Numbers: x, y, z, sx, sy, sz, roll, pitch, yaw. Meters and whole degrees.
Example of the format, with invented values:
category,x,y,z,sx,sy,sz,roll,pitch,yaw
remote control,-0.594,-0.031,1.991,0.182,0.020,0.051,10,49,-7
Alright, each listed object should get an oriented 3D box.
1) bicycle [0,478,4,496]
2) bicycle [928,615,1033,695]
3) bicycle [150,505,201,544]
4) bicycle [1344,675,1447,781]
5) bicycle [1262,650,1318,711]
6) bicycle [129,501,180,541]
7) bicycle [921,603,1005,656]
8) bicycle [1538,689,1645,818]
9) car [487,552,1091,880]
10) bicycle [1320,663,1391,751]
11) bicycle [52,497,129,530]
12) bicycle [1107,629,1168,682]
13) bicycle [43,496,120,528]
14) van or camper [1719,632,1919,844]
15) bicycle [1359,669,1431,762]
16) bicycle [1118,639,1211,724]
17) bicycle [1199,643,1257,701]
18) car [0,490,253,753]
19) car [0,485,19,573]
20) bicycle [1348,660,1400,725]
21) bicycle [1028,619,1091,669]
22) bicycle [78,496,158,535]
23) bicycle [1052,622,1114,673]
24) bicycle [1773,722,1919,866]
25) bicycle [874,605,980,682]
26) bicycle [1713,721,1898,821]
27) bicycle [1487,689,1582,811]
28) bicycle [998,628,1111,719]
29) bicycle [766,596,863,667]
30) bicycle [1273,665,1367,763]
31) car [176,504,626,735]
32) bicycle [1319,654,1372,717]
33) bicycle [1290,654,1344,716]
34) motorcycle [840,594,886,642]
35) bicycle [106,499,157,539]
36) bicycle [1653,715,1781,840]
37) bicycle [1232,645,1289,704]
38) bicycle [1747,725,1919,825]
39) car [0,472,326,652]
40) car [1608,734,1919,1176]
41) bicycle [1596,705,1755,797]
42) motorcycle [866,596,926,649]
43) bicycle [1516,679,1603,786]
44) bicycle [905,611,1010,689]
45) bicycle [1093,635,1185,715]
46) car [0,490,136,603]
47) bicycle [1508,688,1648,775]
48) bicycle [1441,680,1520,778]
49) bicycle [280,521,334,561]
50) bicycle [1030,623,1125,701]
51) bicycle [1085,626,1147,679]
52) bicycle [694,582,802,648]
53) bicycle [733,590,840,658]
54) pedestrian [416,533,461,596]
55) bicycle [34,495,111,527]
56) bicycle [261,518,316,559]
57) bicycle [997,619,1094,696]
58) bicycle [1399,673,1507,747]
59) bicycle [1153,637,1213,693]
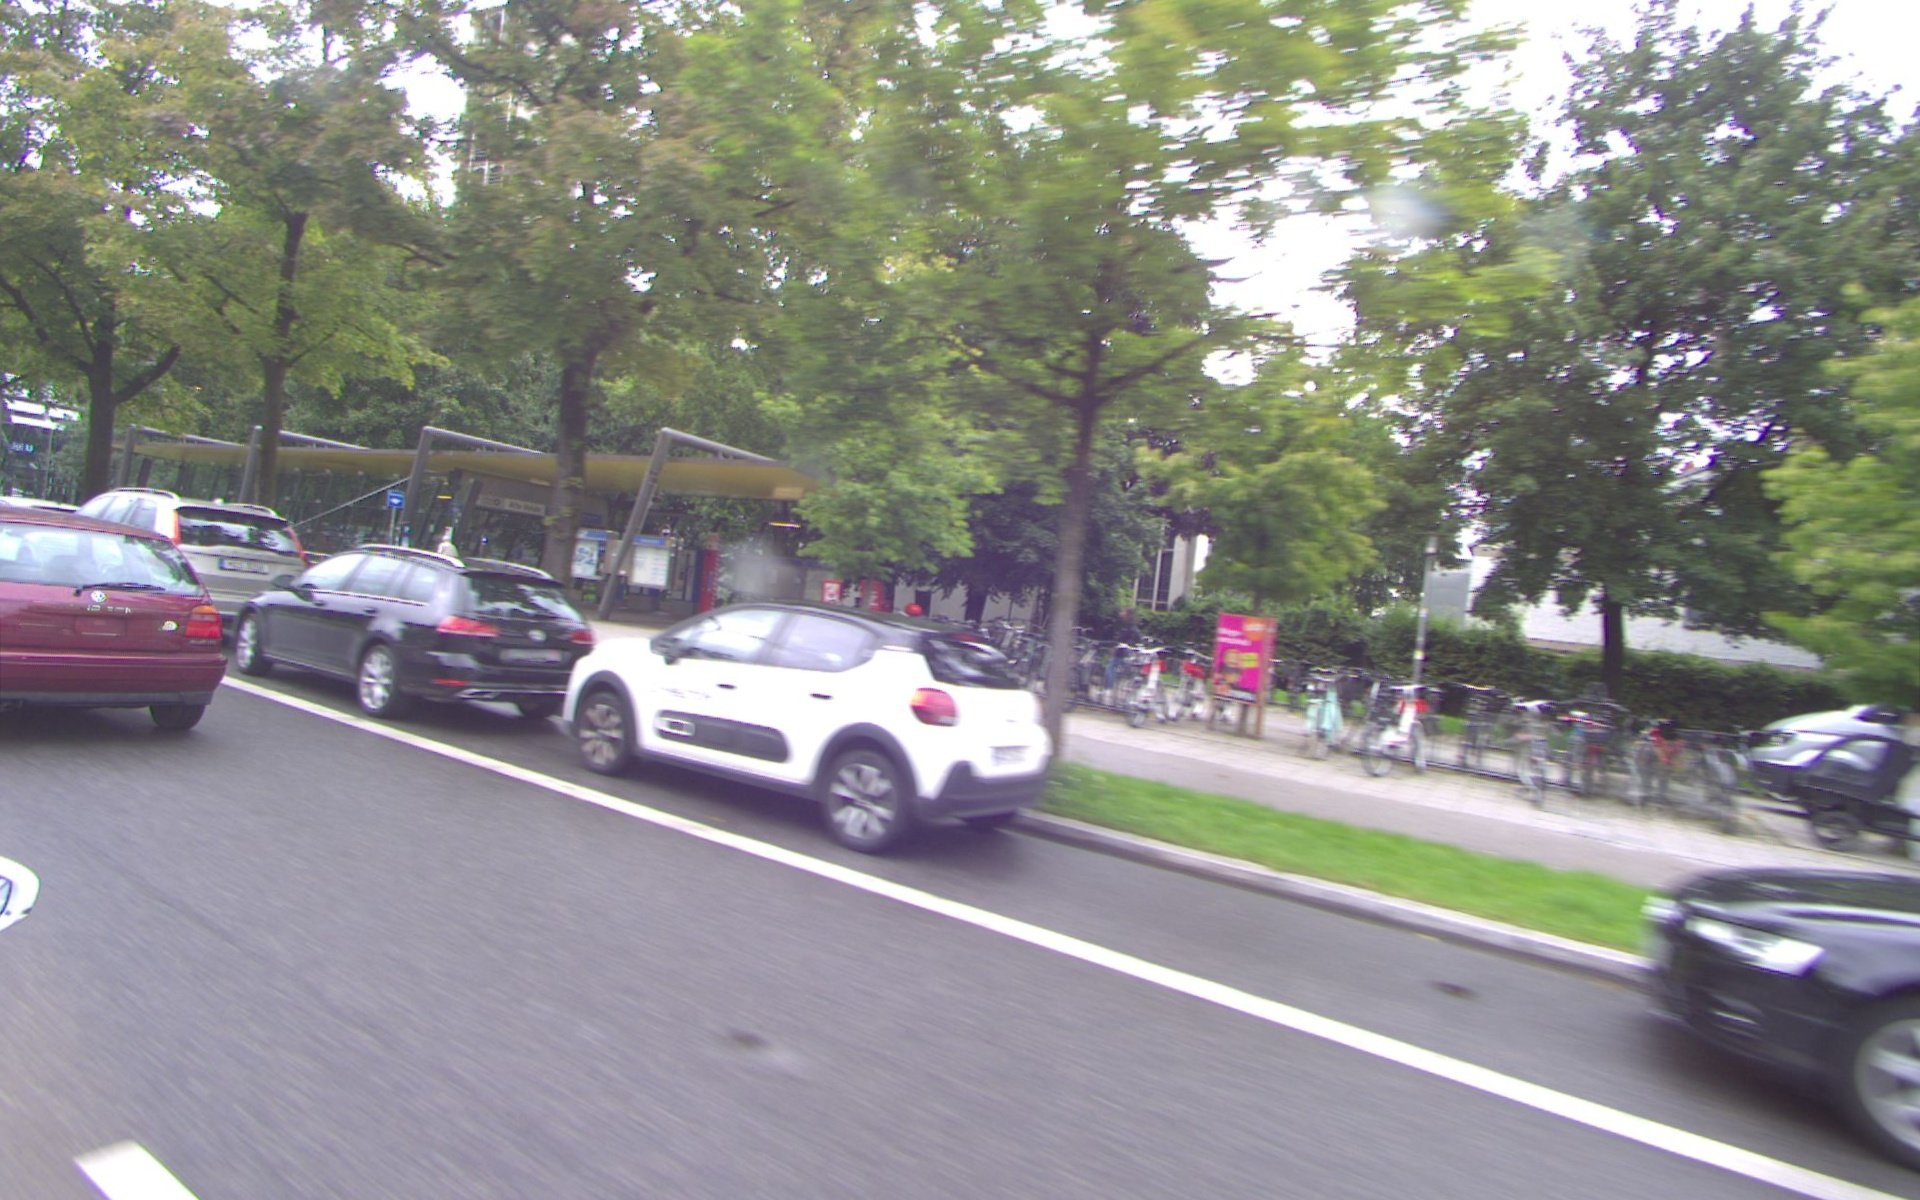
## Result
category,x,y,z,sx,sy,sz,roll,pitch,yaw
bicycle,-82.705,-9.761,85.042,0.783,1.526,2.619,7,0,10
bicycle,0.380,0.882,16.565,0.520,1.173,2.339,8,2,31
bicycle,-30.511,-2.954,39.095,2.508,1.296,0.646,7,1,32
bicycle,5.429,1.546,12.487,0.559,1.157,1.803,8,2,40
bicycle,7.232,1.731,21.970,0.520,1.173,2.339,8,2,31
bicycle,-30.839,-3.015,38.505,2.508,1.296,0.646,7,1,32
bicycle,0.065,0.794,27.806,2.308,1.173,0.527,7,3,35
bicycle,7.468,1.762,11.986,0.557,1.228,1.944,7,1,20
car,-1.410,0.676,7.639,4.308,1.566,1.715,7,0,31
bicycle,5.937,1.567,15.058,0.558,1.157,1.807,7,2,32
bicycle,-39.644,-3.929,45.907,0.636,1.102,2.545,7,0,31
bicycle,4.271,1.307,24.072,0.520,1.173,2.339,8,2,31
bicycle,-40.534,-4.038,46.459,0.636,1.102,2.545,7,0,31
van or camper,12.997,1.921,11.739,2.133,2.325,6.128,7,0,-40
bicycle,6.233,1.606,14.361,0.558,1.157,1.807,7,2,32
bicycle,3.255,1.231,15.817,0.575,1.173,2.339,8,2,31
bicycle,6.081,1.589,22.740,0.520,1.173,2.339,8,2,31
car,-6.838,-0.038,7.008,3.884,1.472,1.624,7,0,31
car,-19.396,-1.557,18.607,4.326,1.552,1.723,7,-1,32
bicycle,8.633,1.884,20.936,0.520,1.173,2.339,8,2,31
bicycle,2.552,1.104,25.452,0.520,1.173,2.339,8,2,31
bicycle,-36.730,-3.683,43.929,0.636,1.296,2.545,7,0,31
bicycle,3.106,1.174,25.168,0.520,1.173,2.339,8,2,31
bicycle,9.728,2.038,10.328,1.968,1.214,0.861,7,2,36
bicycle,-0.517,0.726,17.154,0.520,1.173,2.339,8,2,31
bicycle,13.461,2.693,16.113,0.708,1.168,2.120,7,0,-18
bicycle,6.713,1.707,11.837,0.557,1.157,1.810,7,1,20
bicycle,1.431,1.032,14.757,0.575,1.173,2.339,8,2,31
bicycle,-2.615,0.554,18.418,0.519,1.173,2.342,7,2,23
bicycle,4.829,1.479,13.426,0.558,1.157,1.805,7,2,37
car,-5.621,0.104,9.937,4.564,1.567,1.749,7,1,31
bicycle,8.183,1.779,21.303,0.520,1.173,2.339,8,2,31
bicycle,7.689,1.799,21.620,0.520,1.173,2.339,8,2,31
motorcycle,-2.530,0.458,26.032,0.649,1.075,1.805,7,0,-20
bicycle,-31.233,-3.069,37.904,2.508,1.296,0.646,7,1,32
bicycle,8.583,1.973,11.491,0.557,1.085,1.810,7,1,20
bicycle,6.723,1.636,22.428,0.520,1.173,2.339,8,2,31
bicycle,14.215,2.804,16.337,0.708,1.168,2.120,7,0,-18
car,-10.545,-0.546,13.175,4.825,1.745,1.750,7,0,32
car,5.126,1.565,3.548,4.543,1.376,1.714,7,-1,30
bicycle,12.238,2.555,17.308,0.708,1.168,2.120,7,0,-18
motorcycle,-1.688,0.569,26.332,0.652,1.192,1.797,6,1,-33
bicycle,8.273,1.785,13.960,0.557,1.228,1.944,7,1,20
bicycle,-0.002,0.822,16.972,0.520,1.173,2.339,8,2,31
bicycle,2.993,1.197,16.615,0.575,1.173,2.339,8,2,31
car,-15.422,-1.000,16.305,4.428,1.527,1.704,7,0,31
bicycle,10.888,2.297,17.837,0.707,1.168,2.123,7,0,-13
bicycle,7.118,1.712,13.714,0.558,1.157,1.805,7,2,37
bicycle,-25.010,-2.271,38.503,2.508,1.296,0.646,7,1,32
bicycle,2.024,1.027,17.033,0.575,1.173,2.339,8,2,31
bicycle,3.812,1.253,24.435,0.520,1.173,2.339,8,2,31
bicycle,-4.089,0.309,19.628,0.520,1.173,2.339,8,2,31
bicycle,-3.249,0.461,19.095,0.520,1.173,2.339,8,2,31
pedestrian,-13.586,-0.918,26.199,0.681,1.532,0.580,7,1,13
bicycle,-41.532,-4.162,47.113,0.636,1.102,2.545,7,0,31
bicycle,-25.230,-2.322,37.760,2.508,1.296,0.646,7,1,32
bicycle,1.516,0.964,17.344,0.575,1.173,2.339,8,2,31
bicycle,9.956,2.196,20.405,0.707,1.168,2.124,7,0,-11
bicycle,5.193,1.466,23.265,0.520,1.173,2.339,8,2,31
